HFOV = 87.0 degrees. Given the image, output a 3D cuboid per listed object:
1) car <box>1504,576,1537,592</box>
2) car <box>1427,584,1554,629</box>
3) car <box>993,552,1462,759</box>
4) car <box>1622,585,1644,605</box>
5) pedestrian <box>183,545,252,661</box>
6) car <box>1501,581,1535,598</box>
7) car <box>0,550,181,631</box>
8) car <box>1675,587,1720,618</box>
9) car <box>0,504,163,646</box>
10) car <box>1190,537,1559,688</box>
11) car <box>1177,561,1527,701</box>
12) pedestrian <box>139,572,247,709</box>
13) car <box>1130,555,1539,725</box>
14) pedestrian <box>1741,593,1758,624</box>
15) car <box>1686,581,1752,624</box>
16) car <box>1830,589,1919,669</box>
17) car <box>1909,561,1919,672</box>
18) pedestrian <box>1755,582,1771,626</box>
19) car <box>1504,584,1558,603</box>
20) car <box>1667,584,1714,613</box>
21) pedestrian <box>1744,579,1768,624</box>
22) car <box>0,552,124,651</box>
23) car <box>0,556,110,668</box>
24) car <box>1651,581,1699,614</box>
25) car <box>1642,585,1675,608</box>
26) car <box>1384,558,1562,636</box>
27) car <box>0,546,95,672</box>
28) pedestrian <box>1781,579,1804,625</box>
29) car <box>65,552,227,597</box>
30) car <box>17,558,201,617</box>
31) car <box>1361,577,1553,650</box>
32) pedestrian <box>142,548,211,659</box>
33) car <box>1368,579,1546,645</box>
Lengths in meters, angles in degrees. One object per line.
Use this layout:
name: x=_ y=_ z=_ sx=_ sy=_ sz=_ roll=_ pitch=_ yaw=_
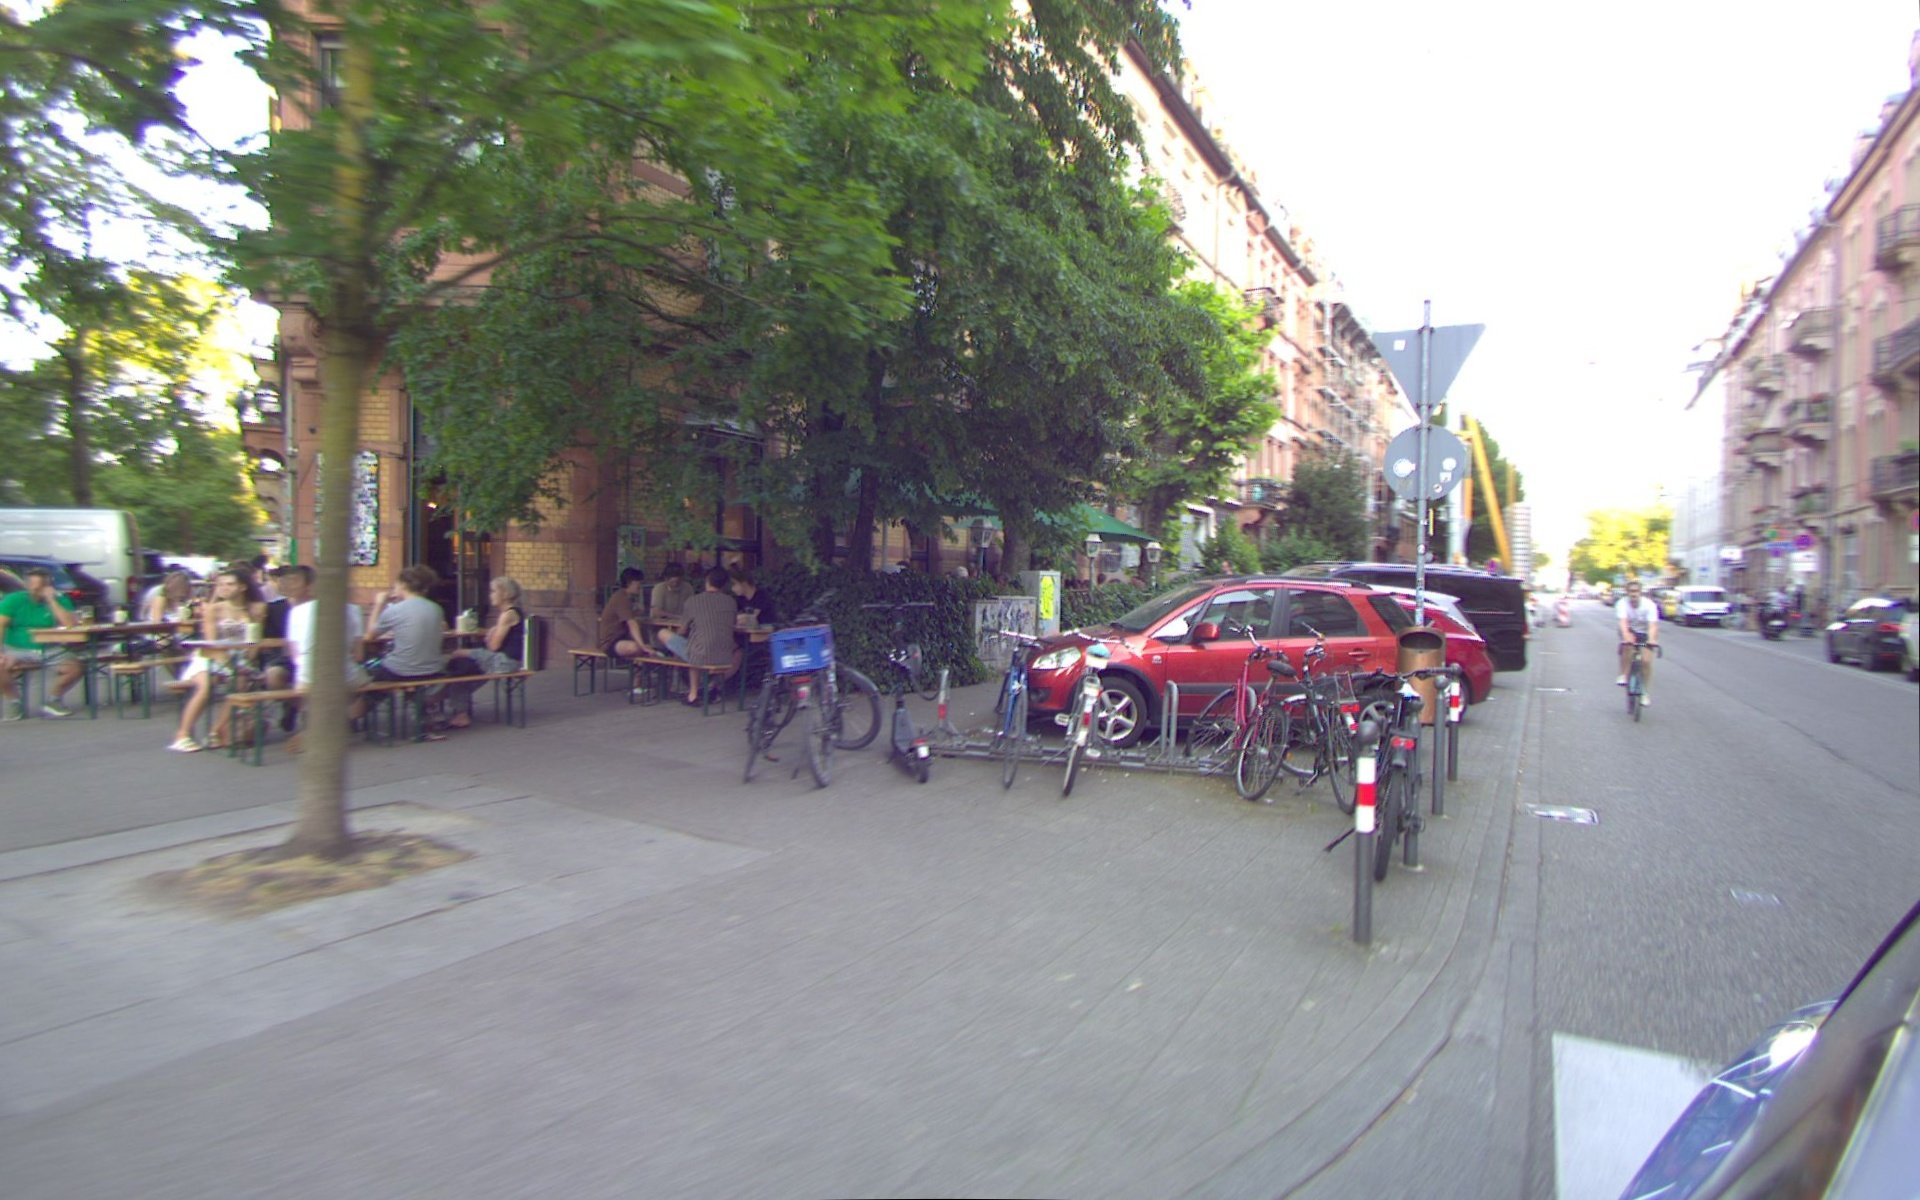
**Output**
car: x=87.374 y=-2.466 z=157.892 sx=4.110 sy=2.286 sz=1.680 roll=3 pitch=2 yaw=-3
car: x=20.133 y=0.225 z=38.515 sx=3.800 sy=1.535 sz=1.845 roll=2 pitch=1 yaw=6
car: x=2.367 y=0.477 z=9.709 sx=3.972 sy=1.648 sz=1.693 roll=2 pitch=0 yaw=0
car: x=66.927 y=-0.542 z=100.673 sx=1.774 sy=1.894 sz=4.406 roll=0 pitch=1 yaw=32
pedestrian: x=-11.283 y=0.038 z=15.402 sx=0.732 sy=1.698 sz=0.767 roll=-1 pitch=0 yaw=-29
car: x=83.130 y=-1.576 z=150.700 sx=4.107 sy=2.320 sz=1.681 roll=2 pitch=2 yaw=-7
car: x=-21.294 y=-0.228 z=23.903 sx=4.458 sy=1.807 sz=2.000 roll=-1 pitch=1 yaw=-35
car: x=39.024 y=0.107 z=53.605 sx=1.698 sy=1.549 sz=3.748 roll=1 pitch=1 yaw=33
car: x=-17.738 y=-0.422 z=18.019 sx=5.439 sy=2.451 sz=2.245 roll=-1 pitch=1 yaw=-36
car: x=6.822 y=0.185 z=16.958 sx=5.327 sy=2.098 sz=1.936 roll=3 pitch=1 yaw=-6
car: x=5.458 y=0.390 z=14.504 sx=4.143 sy=1.642 sz=1.934 roll=3 pitch=1 yaw=-1
pedestrian: x=-7.950 y=0.393 z=10.496 sx=0.623 sy=1.362 sz=0.731 roll=-1 pitch=0 yaw=35
car: x=4.403 y=0.438 z=12.323 sx=4.139 sy=1.709 sz=1.936 roll=3 pitch=1 yaw=-6
pedestrian: x=33.021 y=0.364 z=42.319 sx=0.476 sy=1.267 sz=0.645 roll=-1 pitch=0 yaw=32
car: x=33.727 y=0.071 z=45.083 sx=1.760 sy=1.811 sz=4.541 roll=0 pitch=1 yaw=29
car: x=19.604 y=0.537 z=20.771 sx=1.827 sy=1.489 sz=4.130 roll=1 pitch=1 yaw=29
car: x=16.754 y=0.319 z=15.846 sx=1.829 sy=1.945 sz=4.791 roll=1 pitch=1 yaw=32
pedestrian: x=31.498 y=0.158 z=39.704 sx=0.415 sy=1.730 sz=0.347 roll=-1 pitch=0 yaw=27
car: x=51.161 y=-0.589 z=90.729 sx=3.761 sy=1.537 sz=1.679 roll=3 pitch=3 yaw=-1
car: x=41.348 y=-0.108 z=57.334 sx=1.919 sy=1.616 sz=3.923 roll=1 pitch=1 yaw=33
pedestrian: x=32.712 y=0.070 z=41.603 sx=0.593 sy=1.837 sz=0.715 roll=-1 pitch=0 yaw=23
car: x=-16.269 y=0.040 z=16.007 sx=4.456 sy=1.545 sz=2.001 roll=-1 pitch=1 yaw=-33
car: x=-14.838 y=0.187 z=14.194 sx=4.209 sy=1.545 sz=1.912 roll=-1 pitch=1 yaw=-33
car: x=43.766 y=-0.169 z=62.042 sx=1.917 sy=1.906 sz=4.853 roll=1 pitch=1 yaw=30
car: x=51.319 y=-0.263 z=74.379 sx=1.717 sy=1.668 sz=3.873 roll=0 pitch=0 yaw=31
car: x=17.089 y=-0.127 z=33.944 sx=4.853 sy=2.392 sz=1.997 roll=1 pitch=1 yaw=6
car: x=-13.562 y=0.133 z=12.418 sx=4.209 sy=1.545 sz=1.912 roll=-1 pitch=1 yaw=-33
pedestrian: x=33.708 y=0.065 z=40.958 sx=0.708 sy=1.837 sz=0.599 roll=-1 pitch=0 yaw=-40
car: x=-33.886 y=-1.069 z=42.360 sx=5.100 sy=1.807 sz=2.000 roll=-1 pitch=1 yaw=-35
car: x=-27.920 y=-0.442 z=33.429 sx=4.458 sy=1.807 sz=2.000 roll=-1 pitch=1 yaw=-35
car: x=12.992 y=0.328 z=26.639 sx=4.032 sy=1.610 sz=1.818 roll=3 pitch=1 yaw=1
pedestrian: x=-12.345 y=0.044 z=15.974 sx=0.732 sy=1.698 sz=0.767 roll=-1 pitch=0 yaw=-29
car: x=14.273 y=0.304 z=29.245 sx=4.089 sy=1.610 sz=1.885 roll=3 pitch=1 yaw=1
